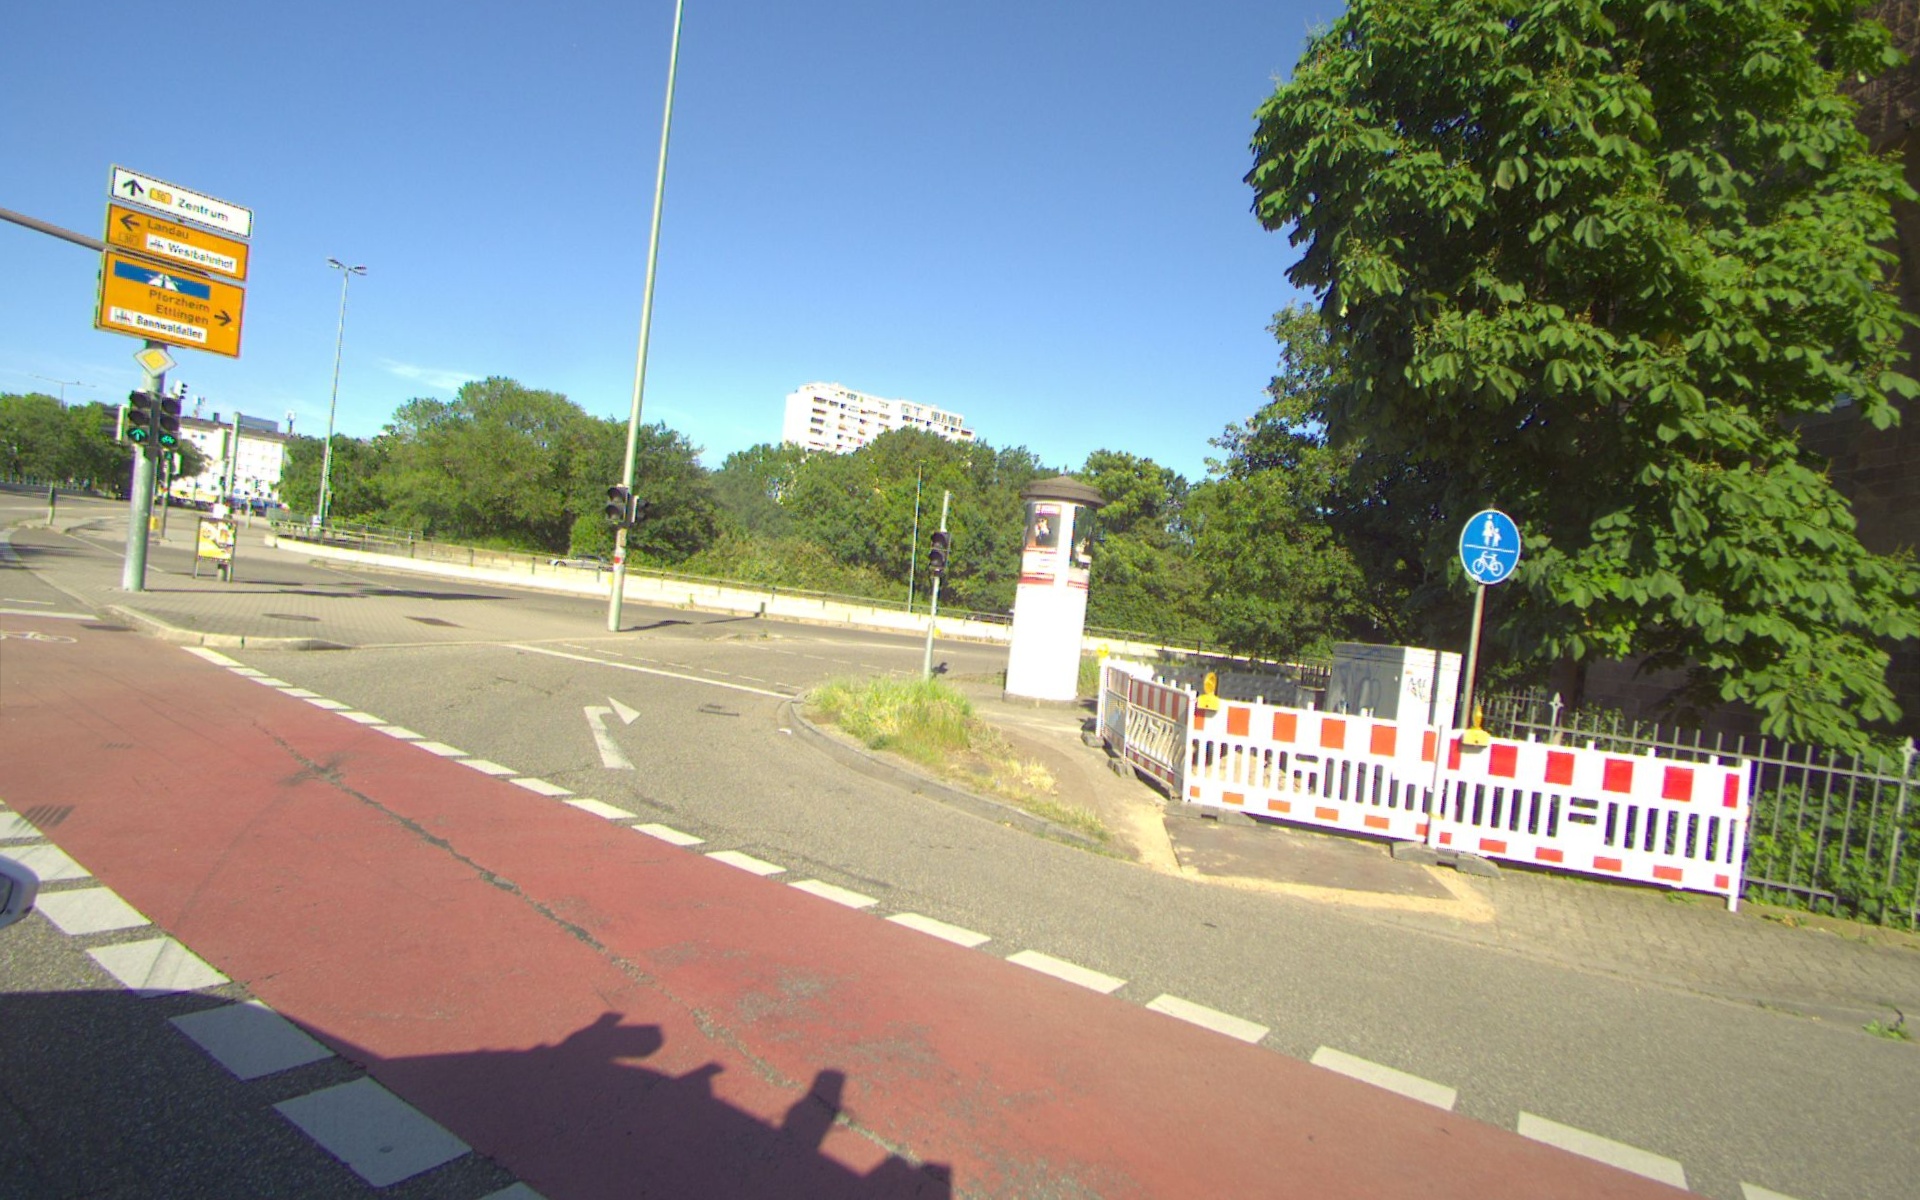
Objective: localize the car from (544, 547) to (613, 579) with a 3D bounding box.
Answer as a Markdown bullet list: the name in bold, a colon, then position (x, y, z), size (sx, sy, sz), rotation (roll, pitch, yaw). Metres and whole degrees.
- **car**: position (-25.787, -2.480, 68.041), size (4.187, 1.571, 1.851), rotation (7, 1, -21)

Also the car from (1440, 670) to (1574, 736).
- **car**: position (18.415, 3.433, 33.998), size (3.716, 1.581, 1.997), rotation (8, 1, 29)

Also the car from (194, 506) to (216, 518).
- **car**: position (-125.286, -14.623, 166.943), size (1.926, 1.547, 4.074), rotation (7, 0, -23)

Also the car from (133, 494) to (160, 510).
- **car**: position (-97.520, -11.739, 120.647), size (1.931, 1.547, 4.063), rotation (7, 0, -31)

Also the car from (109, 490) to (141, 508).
- **car**: position (-89.707, -10.841, 108.094), size (1.932, 1.547, 4.062), rotation (7, 0, -32)
